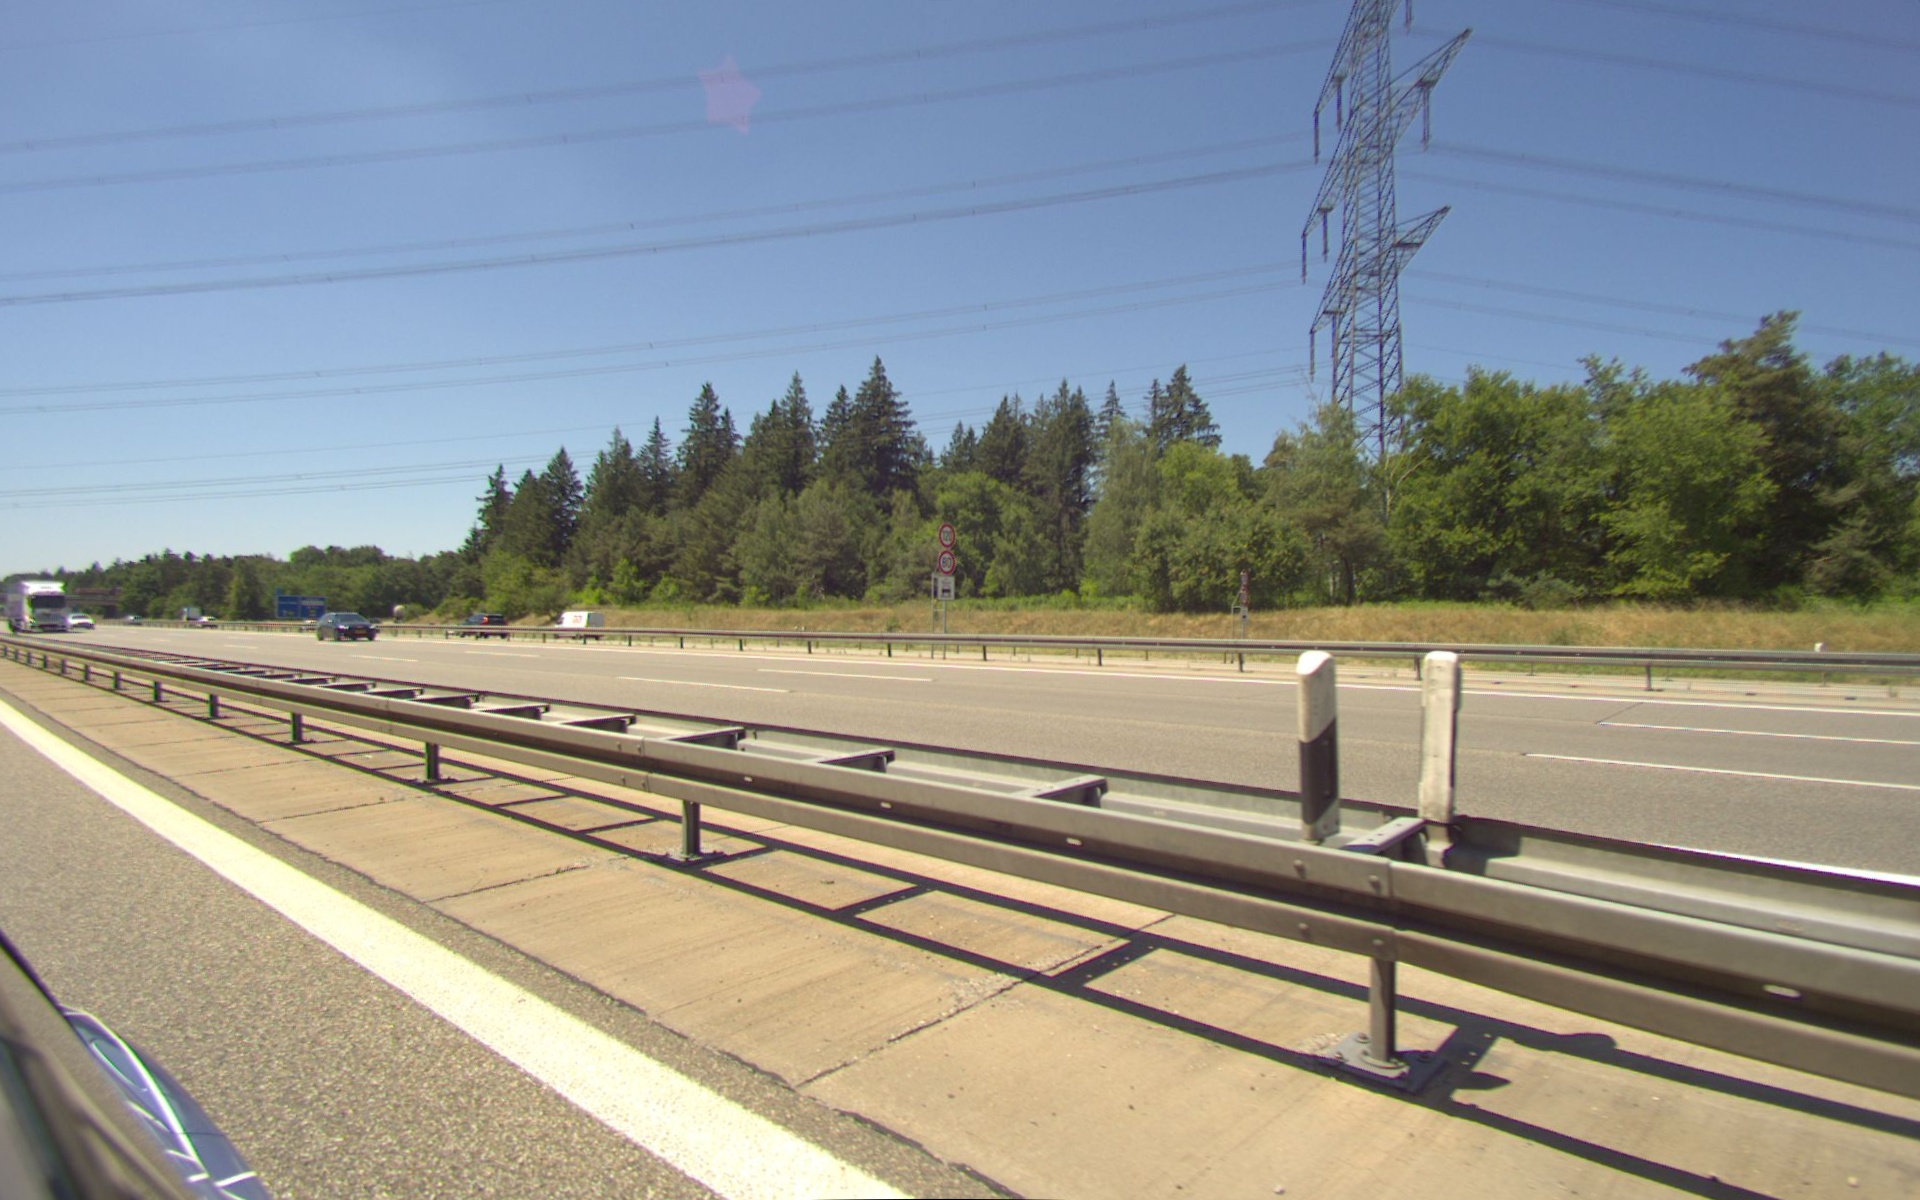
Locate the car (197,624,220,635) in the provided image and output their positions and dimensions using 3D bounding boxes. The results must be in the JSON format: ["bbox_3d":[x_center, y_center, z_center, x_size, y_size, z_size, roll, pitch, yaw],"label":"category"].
[{"bbox_3d":[-99.323,3.913,133.808,4.060,1.486,1.685,-2,-2,42],"label":"car"}]

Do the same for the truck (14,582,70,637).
[{"bbox_3d":[-72.157,0.825,79.535,5.351,4.174,2.939,-2,-2,45],"label":"truck"}]

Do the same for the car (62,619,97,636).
[{"bbox_3d":[-84.503,2.626,97.129,5.404,1.515,1.942,0,-1,43],"label":"car"}]

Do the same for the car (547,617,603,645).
[{"bbox_3d":[-36.111,2.877,94.916,6.456,2.534,2.280,-2,-2,43],"label":"car"}]

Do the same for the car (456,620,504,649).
[{"bbox_3d":[-32.186,2.271,67.801,1.718,1.884,4.002,1,-2,-45],"label":"car"}]

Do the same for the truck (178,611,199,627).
[{"bbox_3d":[-156.074,3.887,204.599,5.080,3.047,2.498,-2,-2,42],"label":"truck"}]

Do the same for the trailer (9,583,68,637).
[{"bbox_3d":[-76.072,0.937,83.424,11.700,4.174,2.941,-2,-2,45],"label":"trailer"}]

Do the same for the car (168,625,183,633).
[{"bbox_3d":[-150.848,5.528,194.614,4.060,1.618,1.685,-2,-2,42],"label":"car"}]

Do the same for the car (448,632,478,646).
[{"bbox_3d":[-55.840,4.369,113.621,4.060,1.618,1.685,-2,-2,42],"label":"car"}]

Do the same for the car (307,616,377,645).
[{"bbox_3d":[-32.083,1.567,52.507,4.999,1.442,1.812,-1,-1,43],"label":"car"}]
